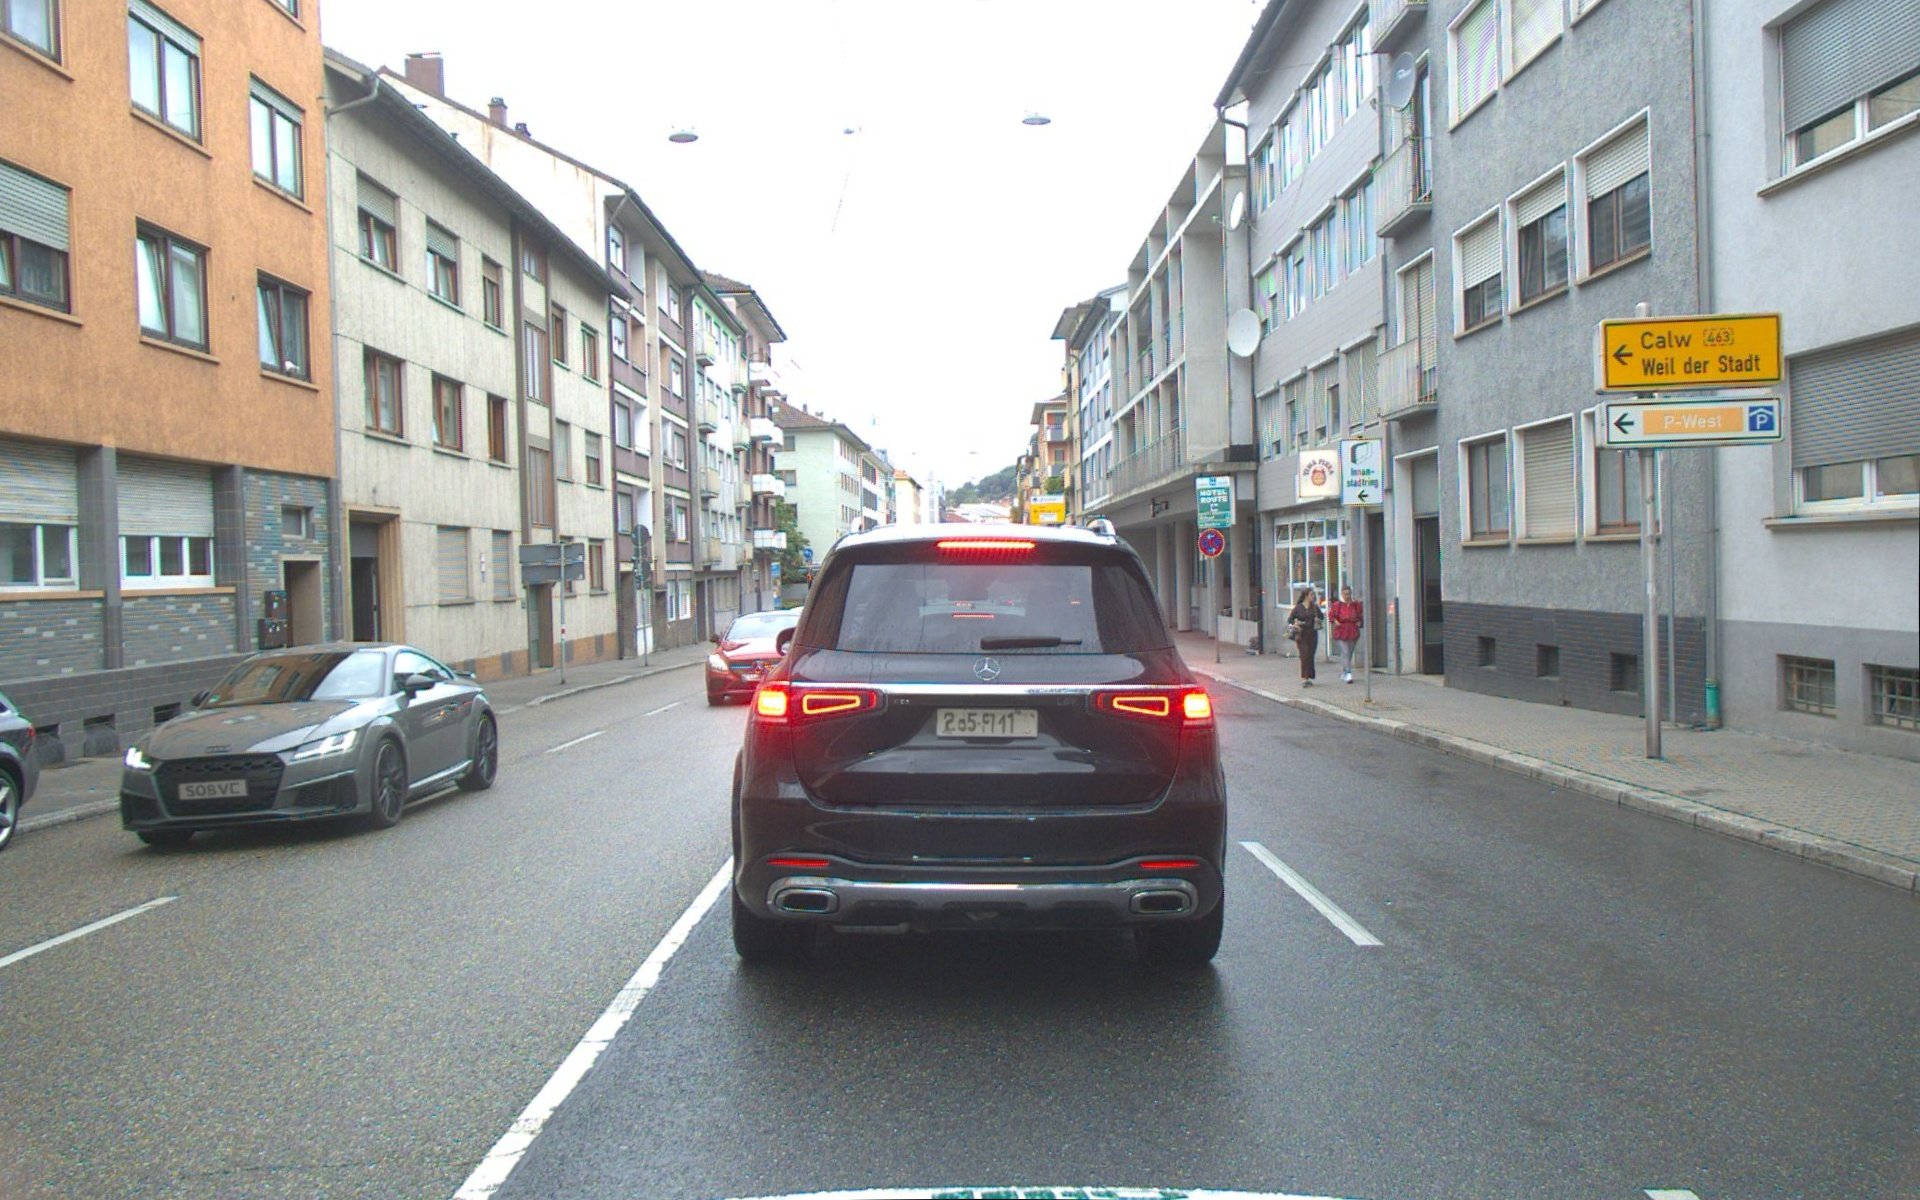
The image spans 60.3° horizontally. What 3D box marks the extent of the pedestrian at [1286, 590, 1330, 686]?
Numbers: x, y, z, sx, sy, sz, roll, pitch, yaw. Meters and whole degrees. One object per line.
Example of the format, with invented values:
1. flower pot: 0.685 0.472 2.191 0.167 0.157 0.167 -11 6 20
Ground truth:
1. pedestrian: 5.732 0.620 27.284 0.496 1.526 0.562 -4 0 -2

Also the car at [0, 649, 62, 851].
1. car: -7.966 1.122 10.831 1.759 1.463 4.525 1 0 -1

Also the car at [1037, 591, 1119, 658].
1. car: 2.955 0.597 42.160 1.731 1.608 3.999 0 0 -1

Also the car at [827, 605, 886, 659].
1. car: -3.423 1.031 55.102 1.698 1.602 4.010 -5 0 -1

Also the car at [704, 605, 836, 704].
1. car: -3.077 0.844 27.563 1.690 1.414 4.338 -3 0 -1

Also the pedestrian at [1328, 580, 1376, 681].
1. pedestrian: 6.449 0.493 27.229 0.549 1.606 0.526 -4 0 -2

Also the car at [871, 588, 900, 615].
1. car: -4.644 0.084 103.815 1.615 1.603 4.124 -3 0 -1

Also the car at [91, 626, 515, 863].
1. car: -4.944 1.006 13.087 1.732 1.369 3.888 -5 0 -1

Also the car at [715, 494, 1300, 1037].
1. car: 0.125 0.568 7.690 1.984 1.837 3.999 1 0 -1

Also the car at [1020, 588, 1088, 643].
1. car: 3.171 0.507 56.824 1.901 1.806 4.744 0 0 -2
